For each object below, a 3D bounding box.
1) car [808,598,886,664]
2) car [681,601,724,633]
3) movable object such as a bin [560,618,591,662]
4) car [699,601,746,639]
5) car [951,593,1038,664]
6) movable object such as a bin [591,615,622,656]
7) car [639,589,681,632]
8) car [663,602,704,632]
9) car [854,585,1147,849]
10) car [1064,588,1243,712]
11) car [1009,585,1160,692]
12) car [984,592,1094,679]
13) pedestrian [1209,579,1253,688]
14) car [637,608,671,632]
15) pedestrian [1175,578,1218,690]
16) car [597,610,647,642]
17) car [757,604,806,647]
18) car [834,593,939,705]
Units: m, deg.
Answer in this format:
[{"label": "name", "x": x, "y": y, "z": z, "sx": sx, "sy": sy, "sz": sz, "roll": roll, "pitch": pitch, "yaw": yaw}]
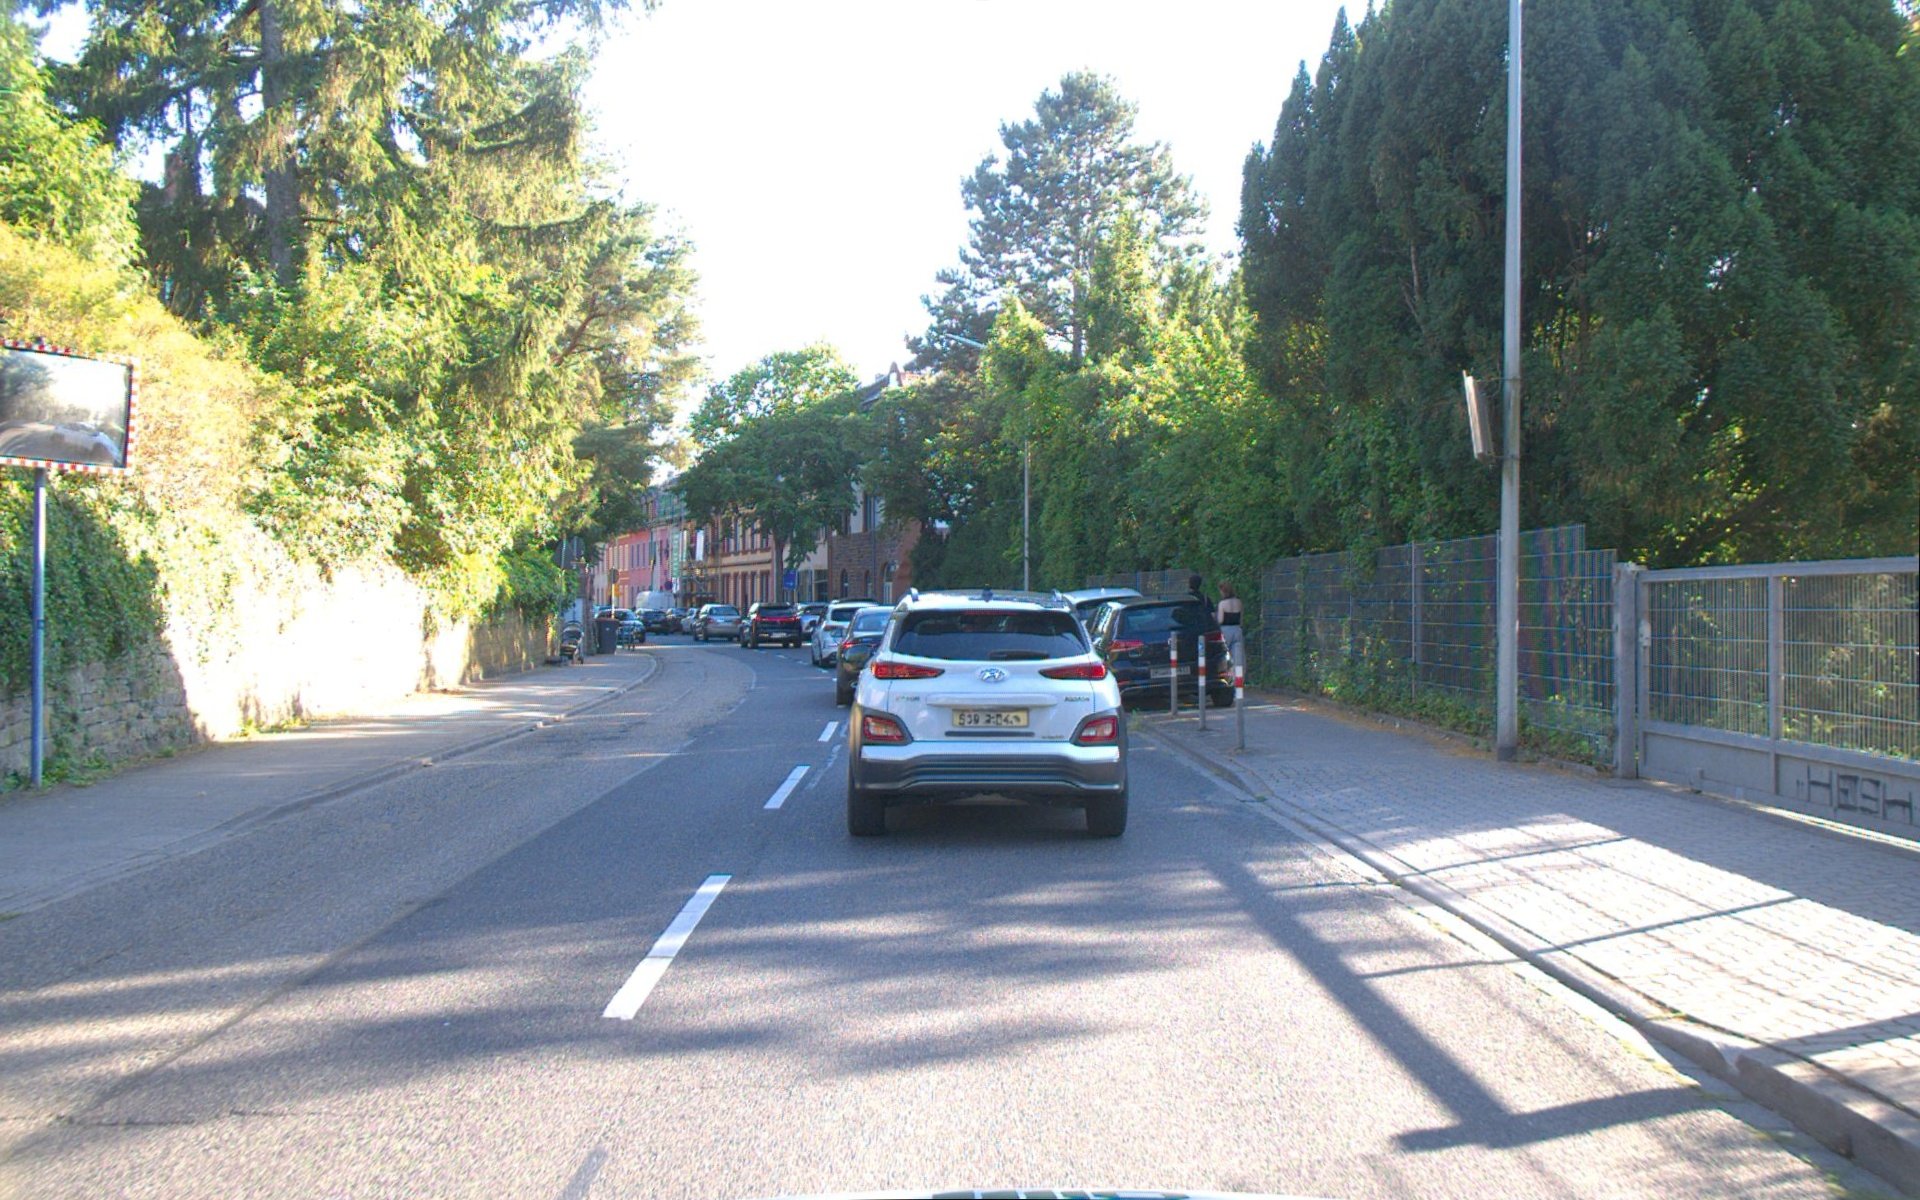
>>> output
[{"label": "car", "x": -2.758, "y": 0.708, "z": 39.919, "sx": 1.541, "sy": 1.503, "sz": 3.540, "roll": 1, "pitch": 0, "yaw": -9}, {"label": "car", "x": -14.442, "y": 0.945, "z": 92.477, "sx": 1.729, "sy": 1.645, "sz": 3.979, "roll": 1, "pitch": 0, "yaw": -19}, {"label": "movable object such as a bin", "x": -9.248, "y": 0.960, "z": 39.831, "sx": 0.485, "sy": 1.029, "sz": 1.112, "roll": 1, "pitch": -1, "yaw": -2}, {"label": "car", "x": -10.368, "y": 0.846, "z": 72.161, "sx": 1.564, "sy": 1.610, "sz": 3.346, "roll": -1, "pitch": 0, "yaw": -16}, {"label": "car", "x": 0.766, "y": 0.632, "z": 38.812, "sx": 1.563, "sy": 1.515, "sz": 3.597, "roll": -3, "pitch": 0, "yaw": -6}, {"label": "movable object such as a bin", "x": -10.650, "y": 1.076, "z": 49.836, "sx": 0.776, "sy": 1.210, "sz": 0.772, "roll": 1, "pitch": -1, "yaw": -3}, {"label": "car", "x": -19.260, "y": 0.665, "z": 106.024, "sx": 1.900, "sy": 2.628, "sz": 4.368, "roll": -1, "pitch": 0, "yaw": -20}, {"label": "car", "x": -16.319, "y": 0.969, "z": 97.473, "sx": 1.729, "sy": 1.645, "sz": 3.979, "roll": 1, "pitch": 0, "yaw": -19}, {"label": "car", "x": 0.226, "y": 0.701, "z": 11.843, "sx": 1.736, "sy": 1.569, "sz": 3.999, "roll": 0, "pitch": 0, "yaw": -1}, {"label": "car", "x": 2.518, "y": 0.619, "z": 22.437, "sx": 1.653, "sy": 1.456, "sz": 3.997, "roll": -3, "pitch": 0, "yaw": -4}, {"label": "car", "x": 1.997, "y": 0.610, "z": 27.661, "sx": 1.564, "sy": 1.592, "sz": 3.991, "roll": -3, "pitch": 0, "yaw": -10}, {"label": "car", "x": 1.528, "y": 0.684, "z": 33.222, "sx": 1.563, "sy": 1.545, "sz": 3.927, "roll": -3, "pitch": 0, "yaw": -6}, {"label": "pedestrian", "x": 4.063, "y": 0.493, "z": 24.801, "sx": 0.493, "sy": 1.596, "sz": 0.503, "roll": -3, "pitch": 0, "yaw": -1}, {"label": "car", "x": -16.966, "y": 1.092, "z": 91.692, "sx": 1.502, "sy": 1.282, "sz": 3.345, "roll": -1, "pitch": 0, "yaw": -17}, {"label": "pedestrian", "x": 3.538, "y": 0.504, "z": 24.784, "sx": 0.493, "sy": 1.634, "sz": 0.491, "roll": -3, "pitch": 0, "yaw": -1}, {"label": "car", "x": -14.455, "y": 1.079, "z": 70.545, "sx": 1.569, "sy": 1.341, "sz": 3.790, "roll": 0, "pitch": 0, "yaw": -20}, {"label": "car", "x": -6.445, "y": 0.884, "z": 59.513, "sx": 1.563, "sy": 1.486, "sz": 3.091, "roll": -1, "pitch": 0, "yaw": -10}, {"label": "car", "x": -1.154, "y": 0.693, "z": 25.385, "sx": 1.482, "sy": 1.560, "sz": 3.545, "roll": -1, "pitch": 0, "yaw": -3}]
